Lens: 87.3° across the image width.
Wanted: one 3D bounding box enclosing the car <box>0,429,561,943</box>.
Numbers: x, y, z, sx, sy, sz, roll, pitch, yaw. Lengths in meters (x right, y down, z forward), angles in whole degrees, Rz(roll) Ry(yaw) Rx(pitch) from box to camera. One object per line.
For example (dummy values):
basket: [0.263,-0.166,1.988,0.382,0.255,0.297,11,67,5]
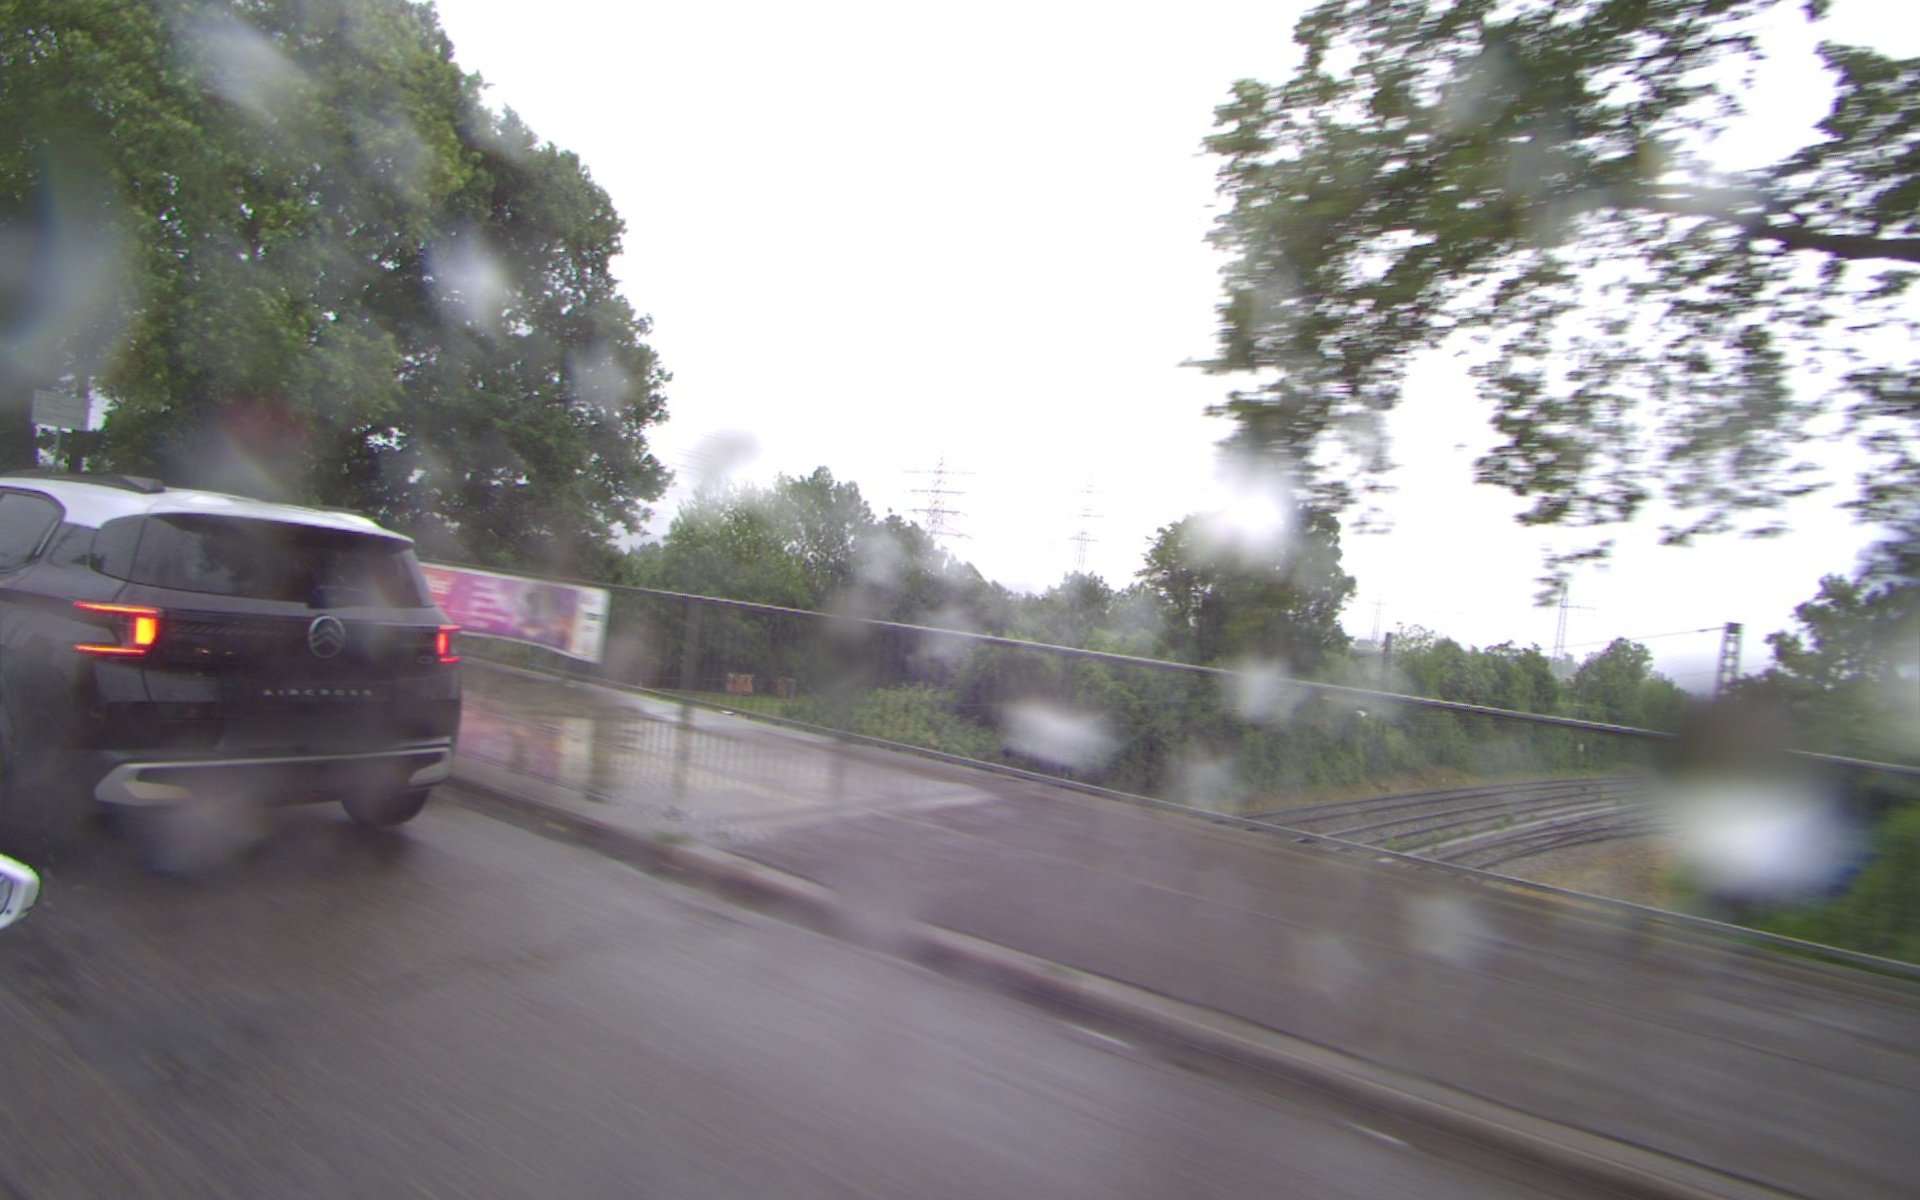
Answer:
car: [-4.572,0.128,5.434,4.646,1.737,1.903,8,-1,31]
